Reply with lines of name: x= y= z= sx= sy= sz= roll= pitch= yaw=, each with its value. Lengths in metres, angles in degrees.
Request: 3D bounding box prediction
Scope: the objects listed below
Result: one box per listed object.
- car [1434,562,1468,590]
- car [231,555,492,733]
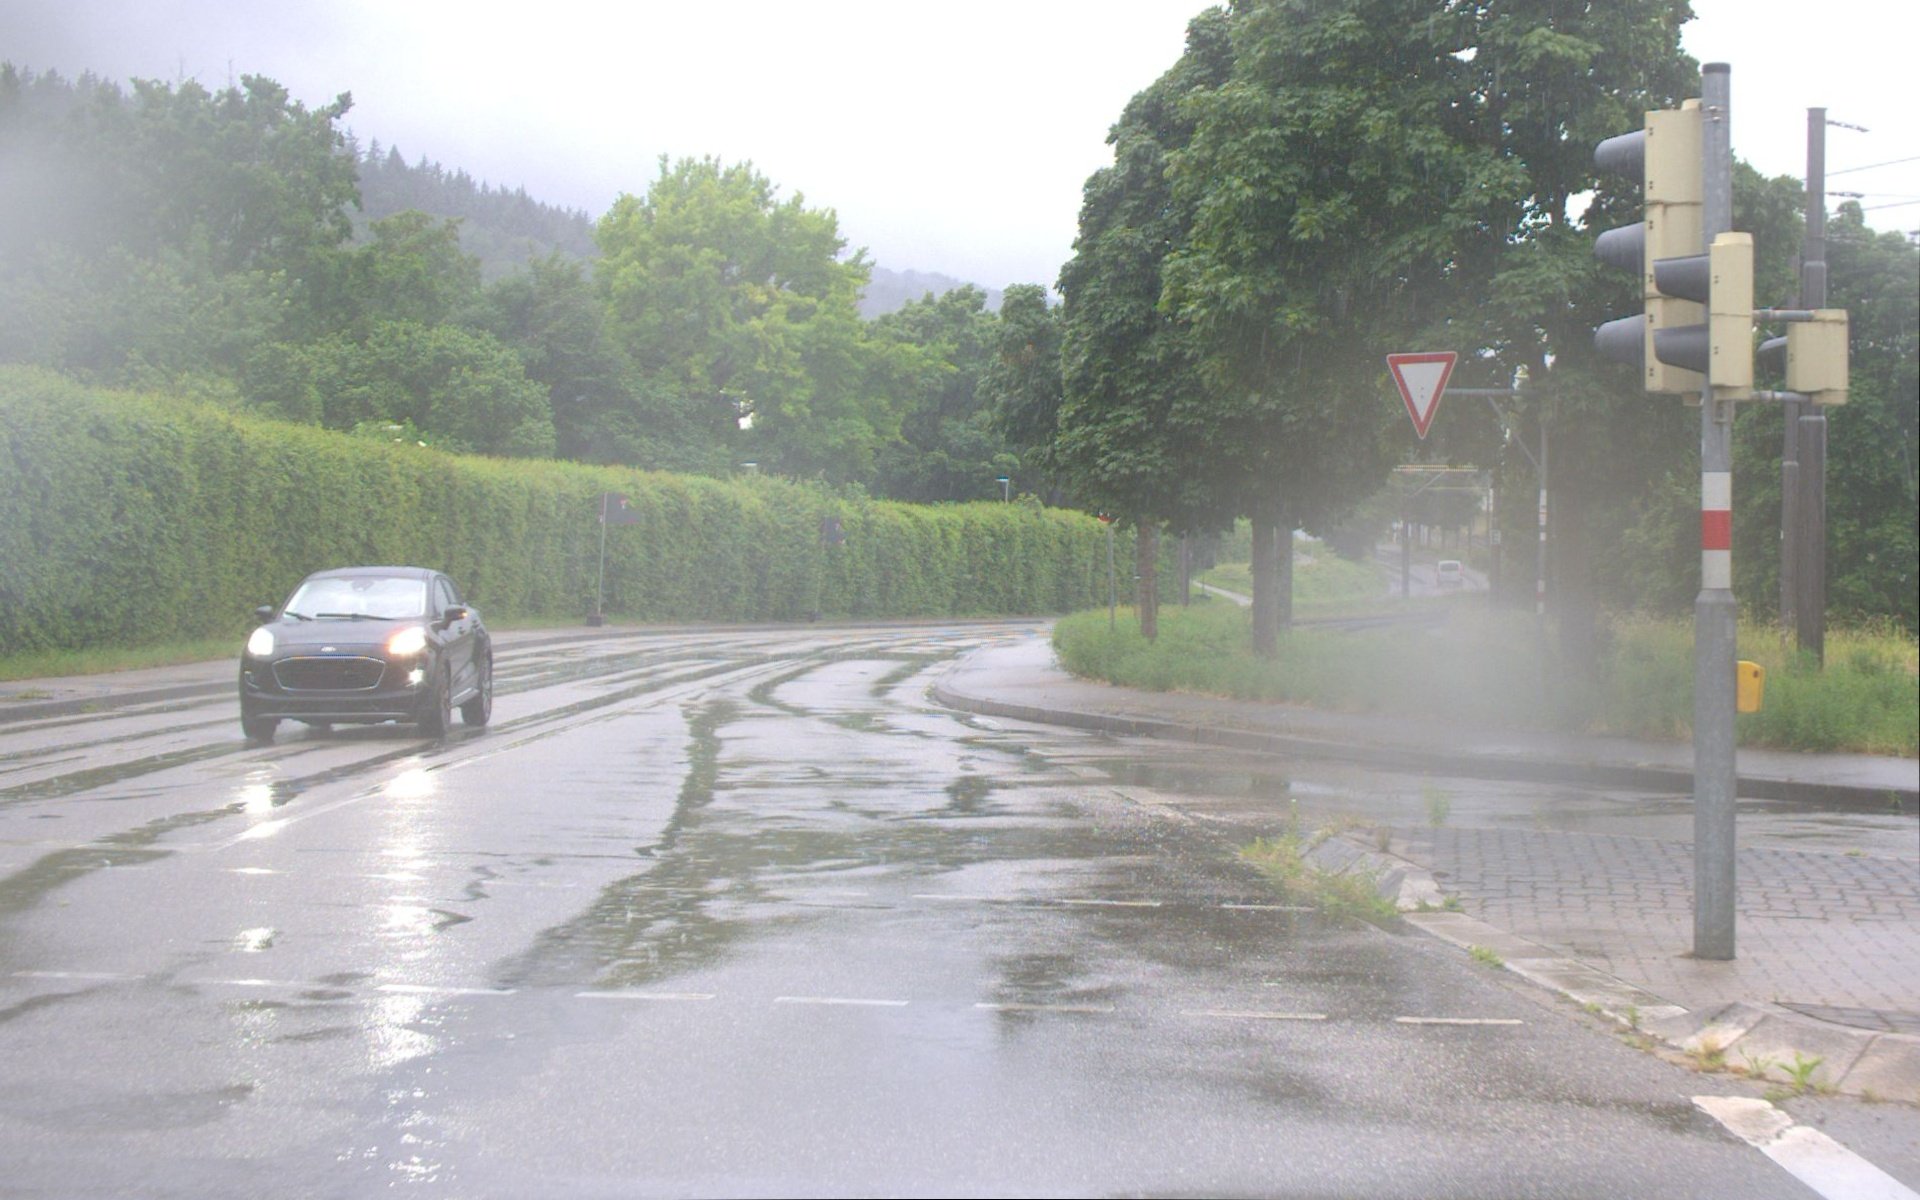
car: x=34.493 y=-1.710 z=241.366 sx=1.954 sy=1.897 sz=4.117 roll=0 pitch=1 yaw=14
car: x=-5.444 y=0.354 z=31.704 sx=1.785 sy=1.499 sz=4.061 roll=0 pitch=1 yaw=-1
